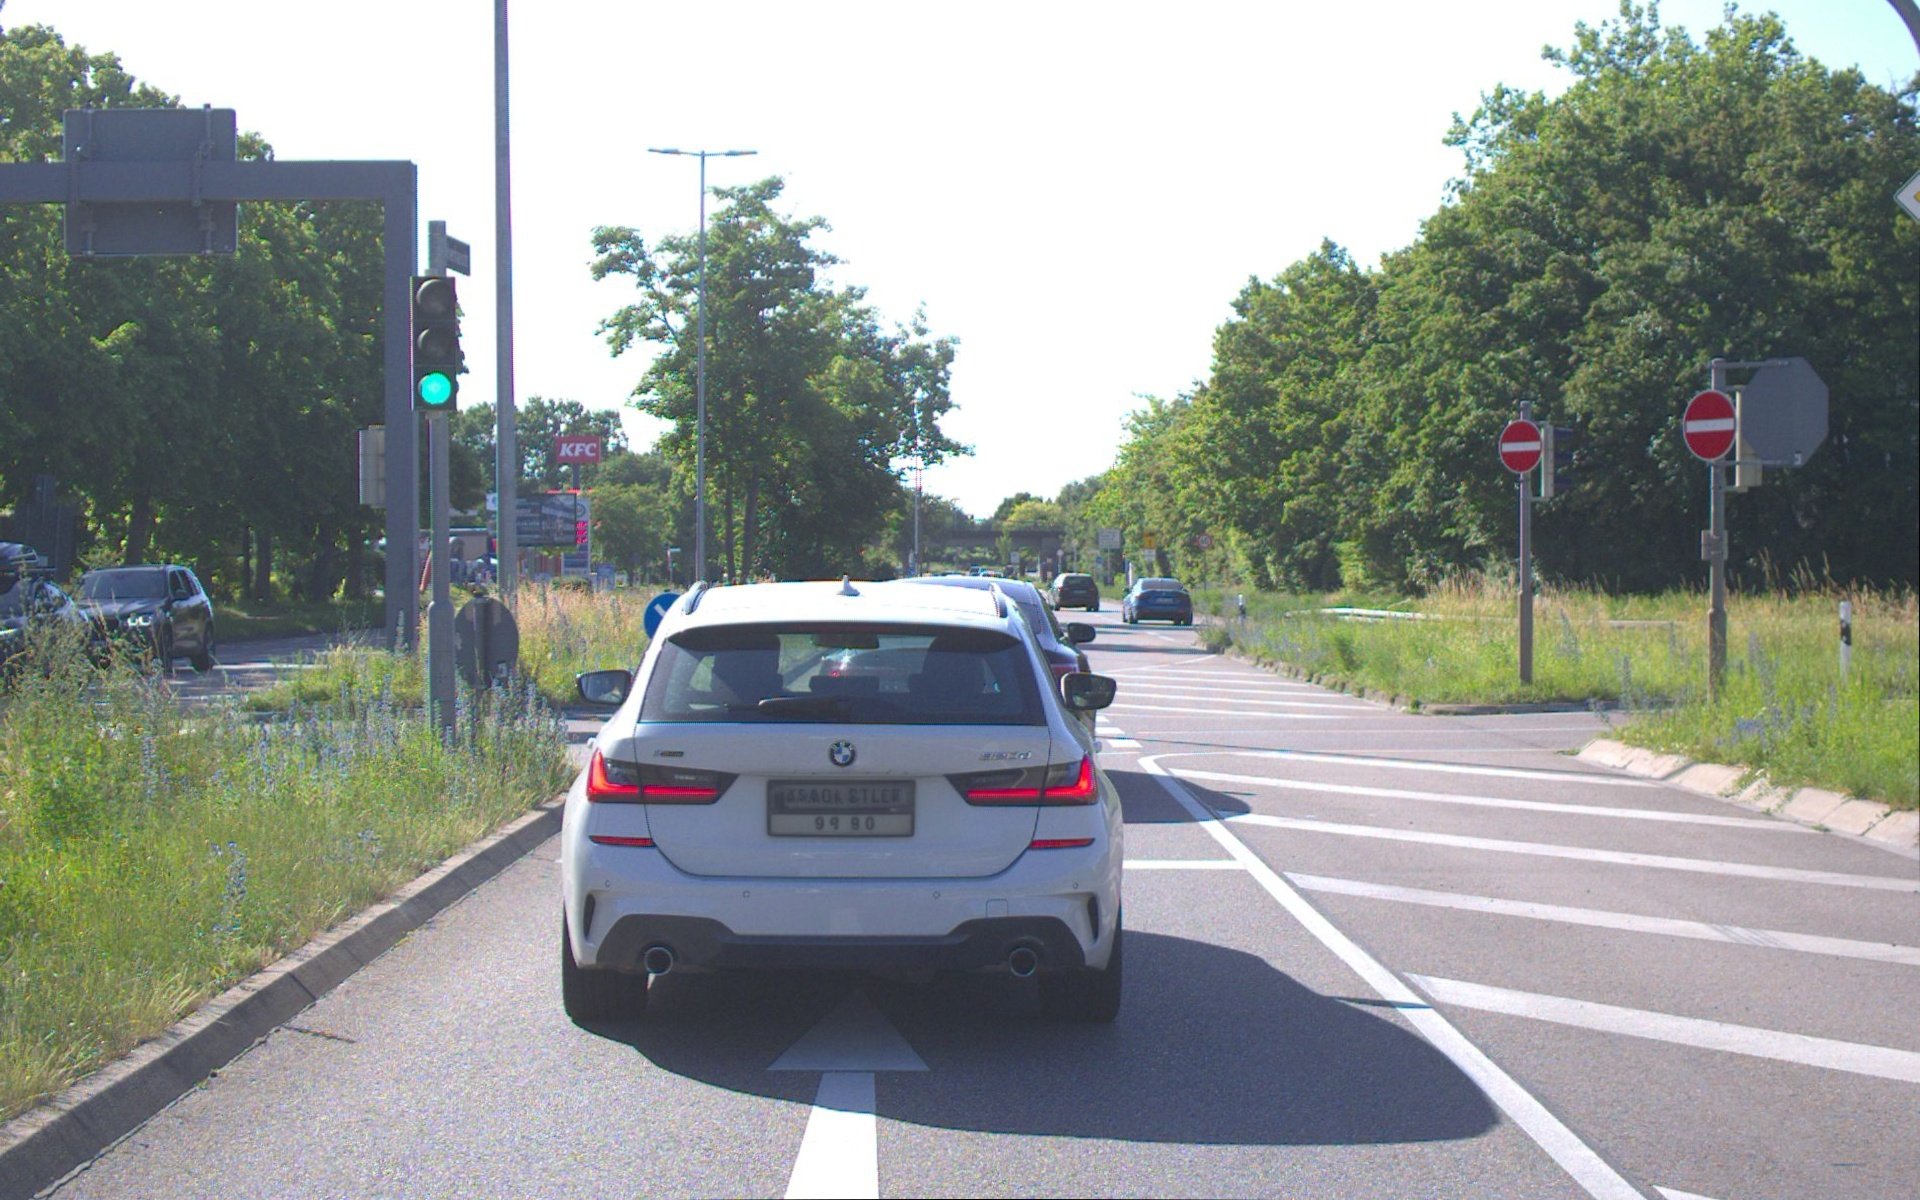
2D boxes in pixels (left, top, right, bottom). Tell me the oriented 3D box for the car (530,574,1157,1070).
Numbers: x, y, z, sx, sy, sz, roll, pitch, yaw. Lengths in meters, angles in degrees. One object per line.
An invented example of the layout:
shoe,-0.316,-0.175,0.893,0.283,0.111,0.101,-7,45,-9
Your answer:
car,-0.342,0.642,12.498,1.861,1.450,4.547,0,1,0

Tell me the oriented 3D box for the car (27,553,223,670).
car,-13.141,0.147,54.363,1.942,1.691,4.630,-2,1,0

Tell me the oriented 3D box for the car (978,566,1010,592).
car,2.094,-1.307,212.698,1.861,1.560,4.548,-1,1,0

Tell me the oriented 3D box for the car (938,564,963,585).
car,-0.749,-1.921,259.921,1.861,1.560,4.548,0,1,0

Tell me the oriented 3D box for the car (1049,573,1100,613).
car,4.550,-0.305,136.941,1.771,1.550,3.833,0,1,-2

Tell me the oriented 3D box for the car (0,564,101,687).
car,-12.866,0.319,45.345,1.876,1.537,4.572,-2,1,0

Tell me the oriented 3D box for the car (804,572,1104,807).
car,-0.055,0.539,23.707,1.861,1.450,4.548,0,1,0

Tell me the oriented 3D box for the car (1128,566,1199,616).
car,6.172,-0.280,104.745,1.861,1.494,4.336,0,0,-1
